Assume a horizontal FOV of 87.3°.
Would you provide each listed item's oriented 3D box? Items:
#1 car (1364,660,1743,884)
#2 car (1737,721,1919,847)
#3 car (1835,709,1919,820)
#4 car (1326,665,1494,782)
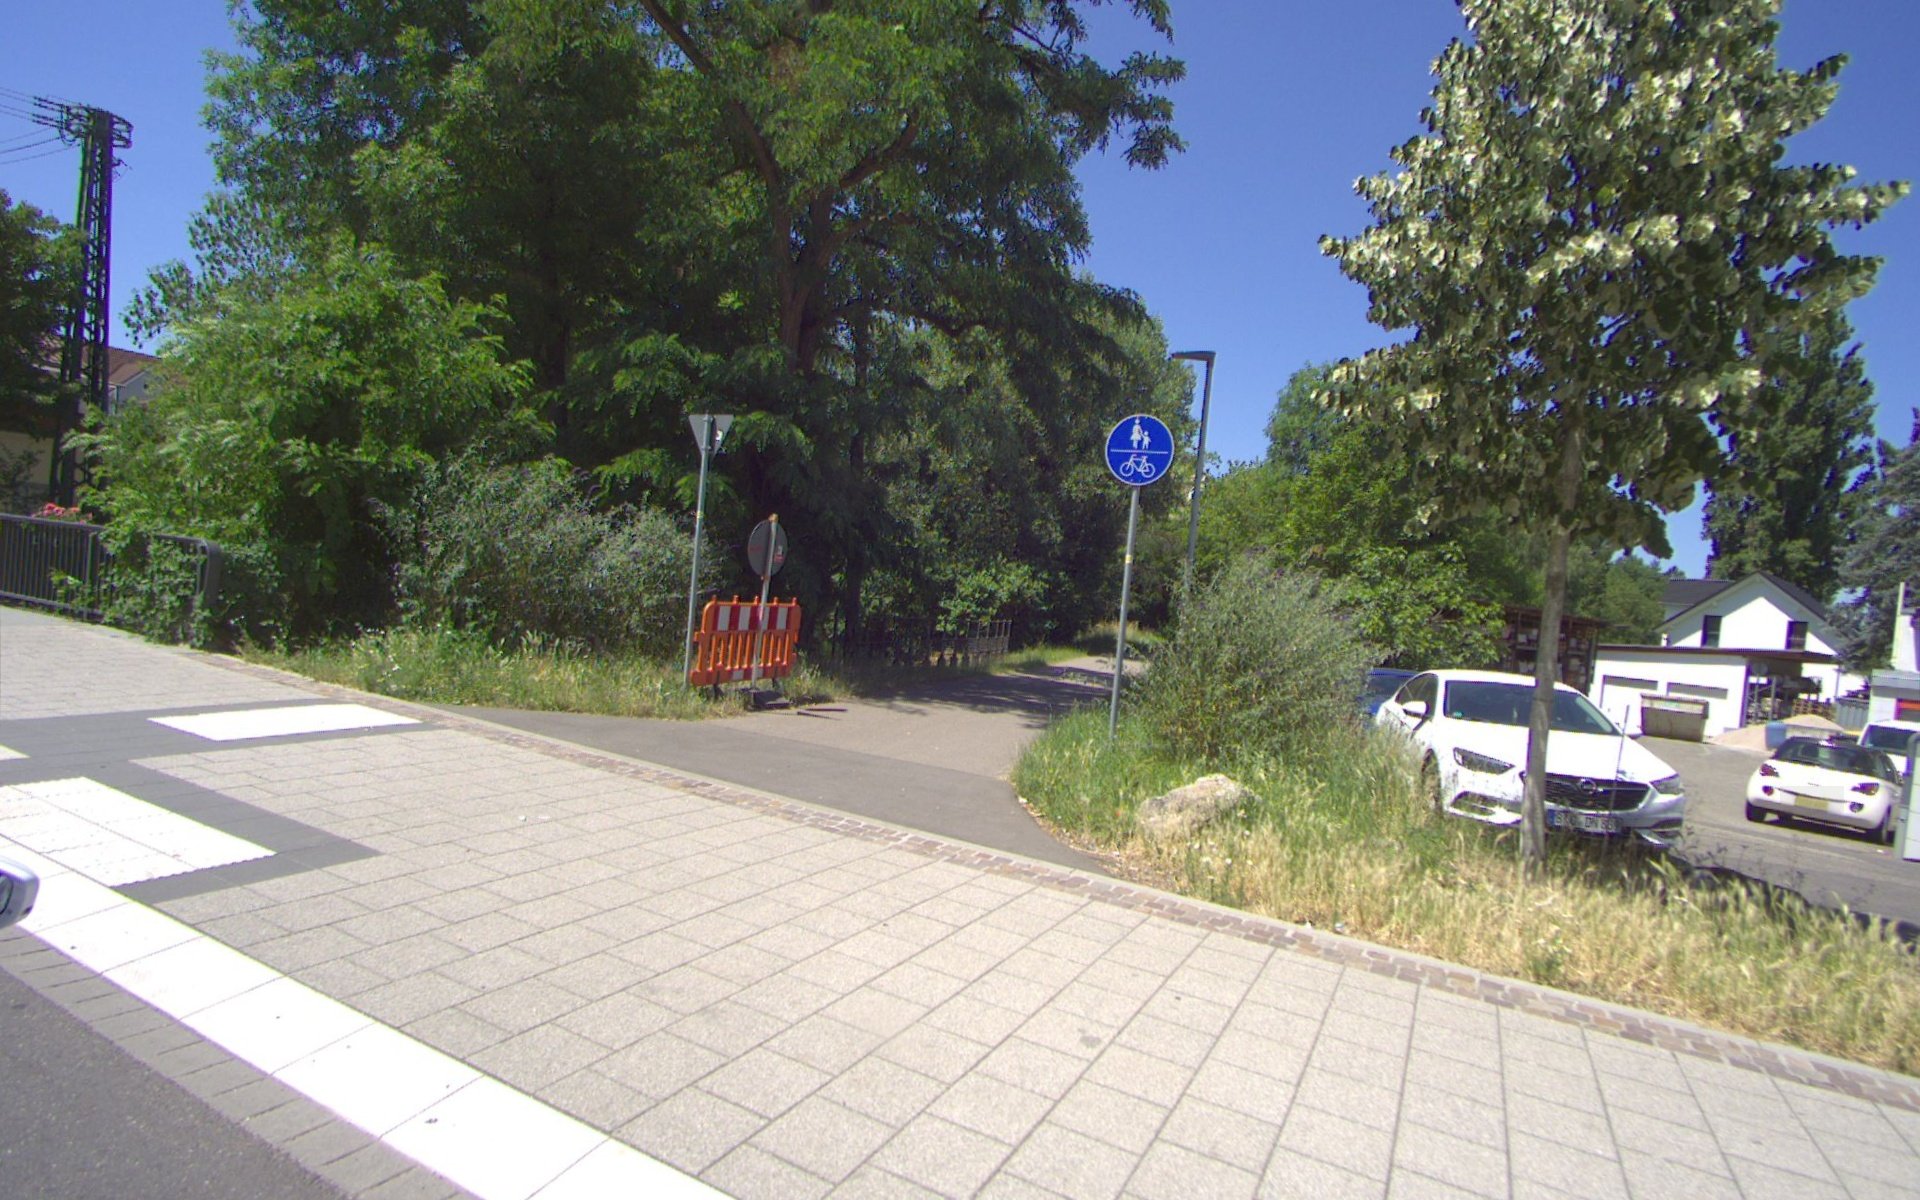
[{"bbox_3d":[5.317,1.413,9.734,1.825,1.366,4.205,7,-1,13],"label":"car"},{"bbox_3d":[14.532,3.043,16.696,4.006,1.560,1.779,11,-2,-42],"label":"car"},{"bbox_3d":[22.047,3.790,23.406,5.064,2.156,1.975,7,0,-44],"label":"car"},{"bbox_3d":[7.006,1.834,16.077,1.825,1.366,4.204,5,-1,17],"label":"car"}]
